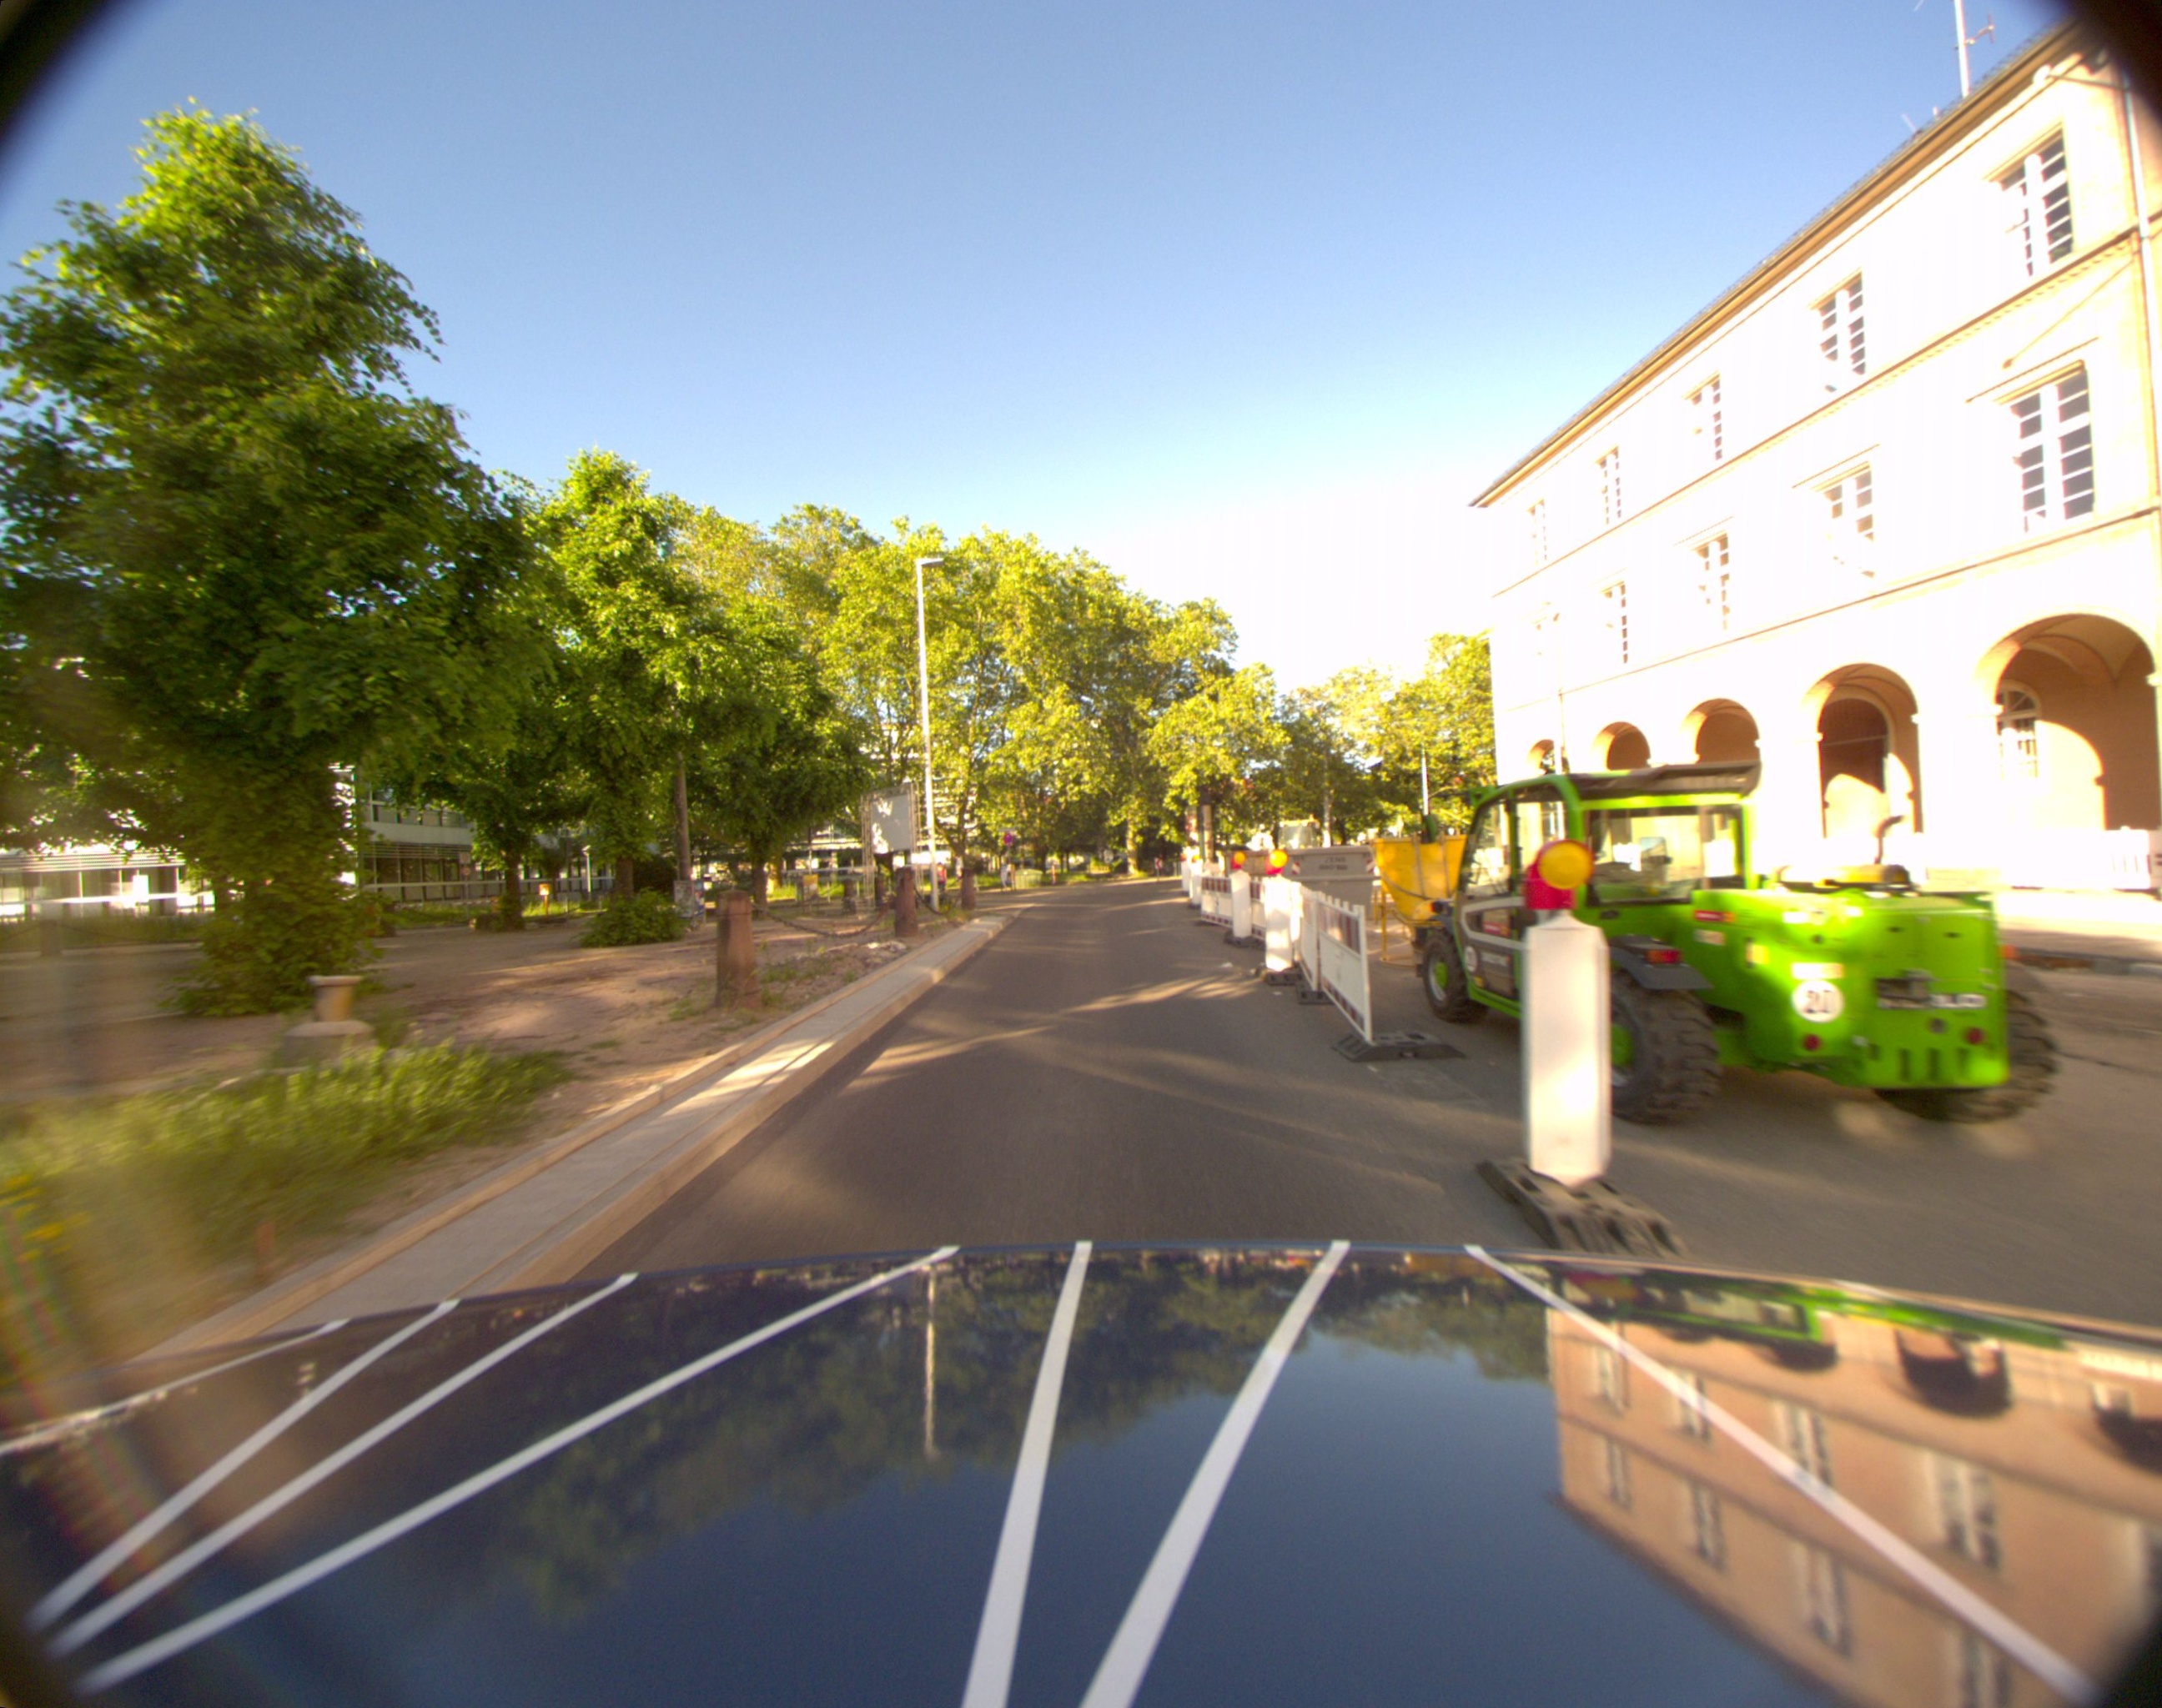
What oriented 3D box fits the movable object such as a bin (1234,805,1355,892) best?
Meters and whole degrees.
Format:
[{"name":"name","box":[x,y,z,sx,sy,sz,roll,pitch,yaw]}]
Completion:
[{"name":"movable object such as a bin","box":[8.457,-0.257,29.605,2.560,3.014,5.942,-2,1,36]}]

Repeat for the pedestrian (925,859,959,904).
[{"name":"pedestrian","box":[-5.190,1.021,28.422,0.940,1.614,0.709,-4,1,-39]}]

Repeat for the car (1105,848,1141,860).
[{"name":"car","box":[5.852,0.002,106.517,4.657,1.466,2.013,-2,-1,-8]}]

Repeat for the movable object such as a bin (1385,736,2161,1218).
[{"name":"movable object such as a bin","box":[3.891,0.555,5.302,2.054,1.937,4.337,-3,-1,5]}]

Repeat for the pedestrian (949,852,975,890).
[{"name":"pedestrian","box":[-5.800,0.821,36.888,1.134,1.801,0.747,-3,-1,-11]}]

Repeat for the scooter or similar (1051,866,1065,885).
[{"name":"scooter or similar","box":[-1.192,1.085,38.801,0.420,0.909,1.149,-4,2,-15]}]
